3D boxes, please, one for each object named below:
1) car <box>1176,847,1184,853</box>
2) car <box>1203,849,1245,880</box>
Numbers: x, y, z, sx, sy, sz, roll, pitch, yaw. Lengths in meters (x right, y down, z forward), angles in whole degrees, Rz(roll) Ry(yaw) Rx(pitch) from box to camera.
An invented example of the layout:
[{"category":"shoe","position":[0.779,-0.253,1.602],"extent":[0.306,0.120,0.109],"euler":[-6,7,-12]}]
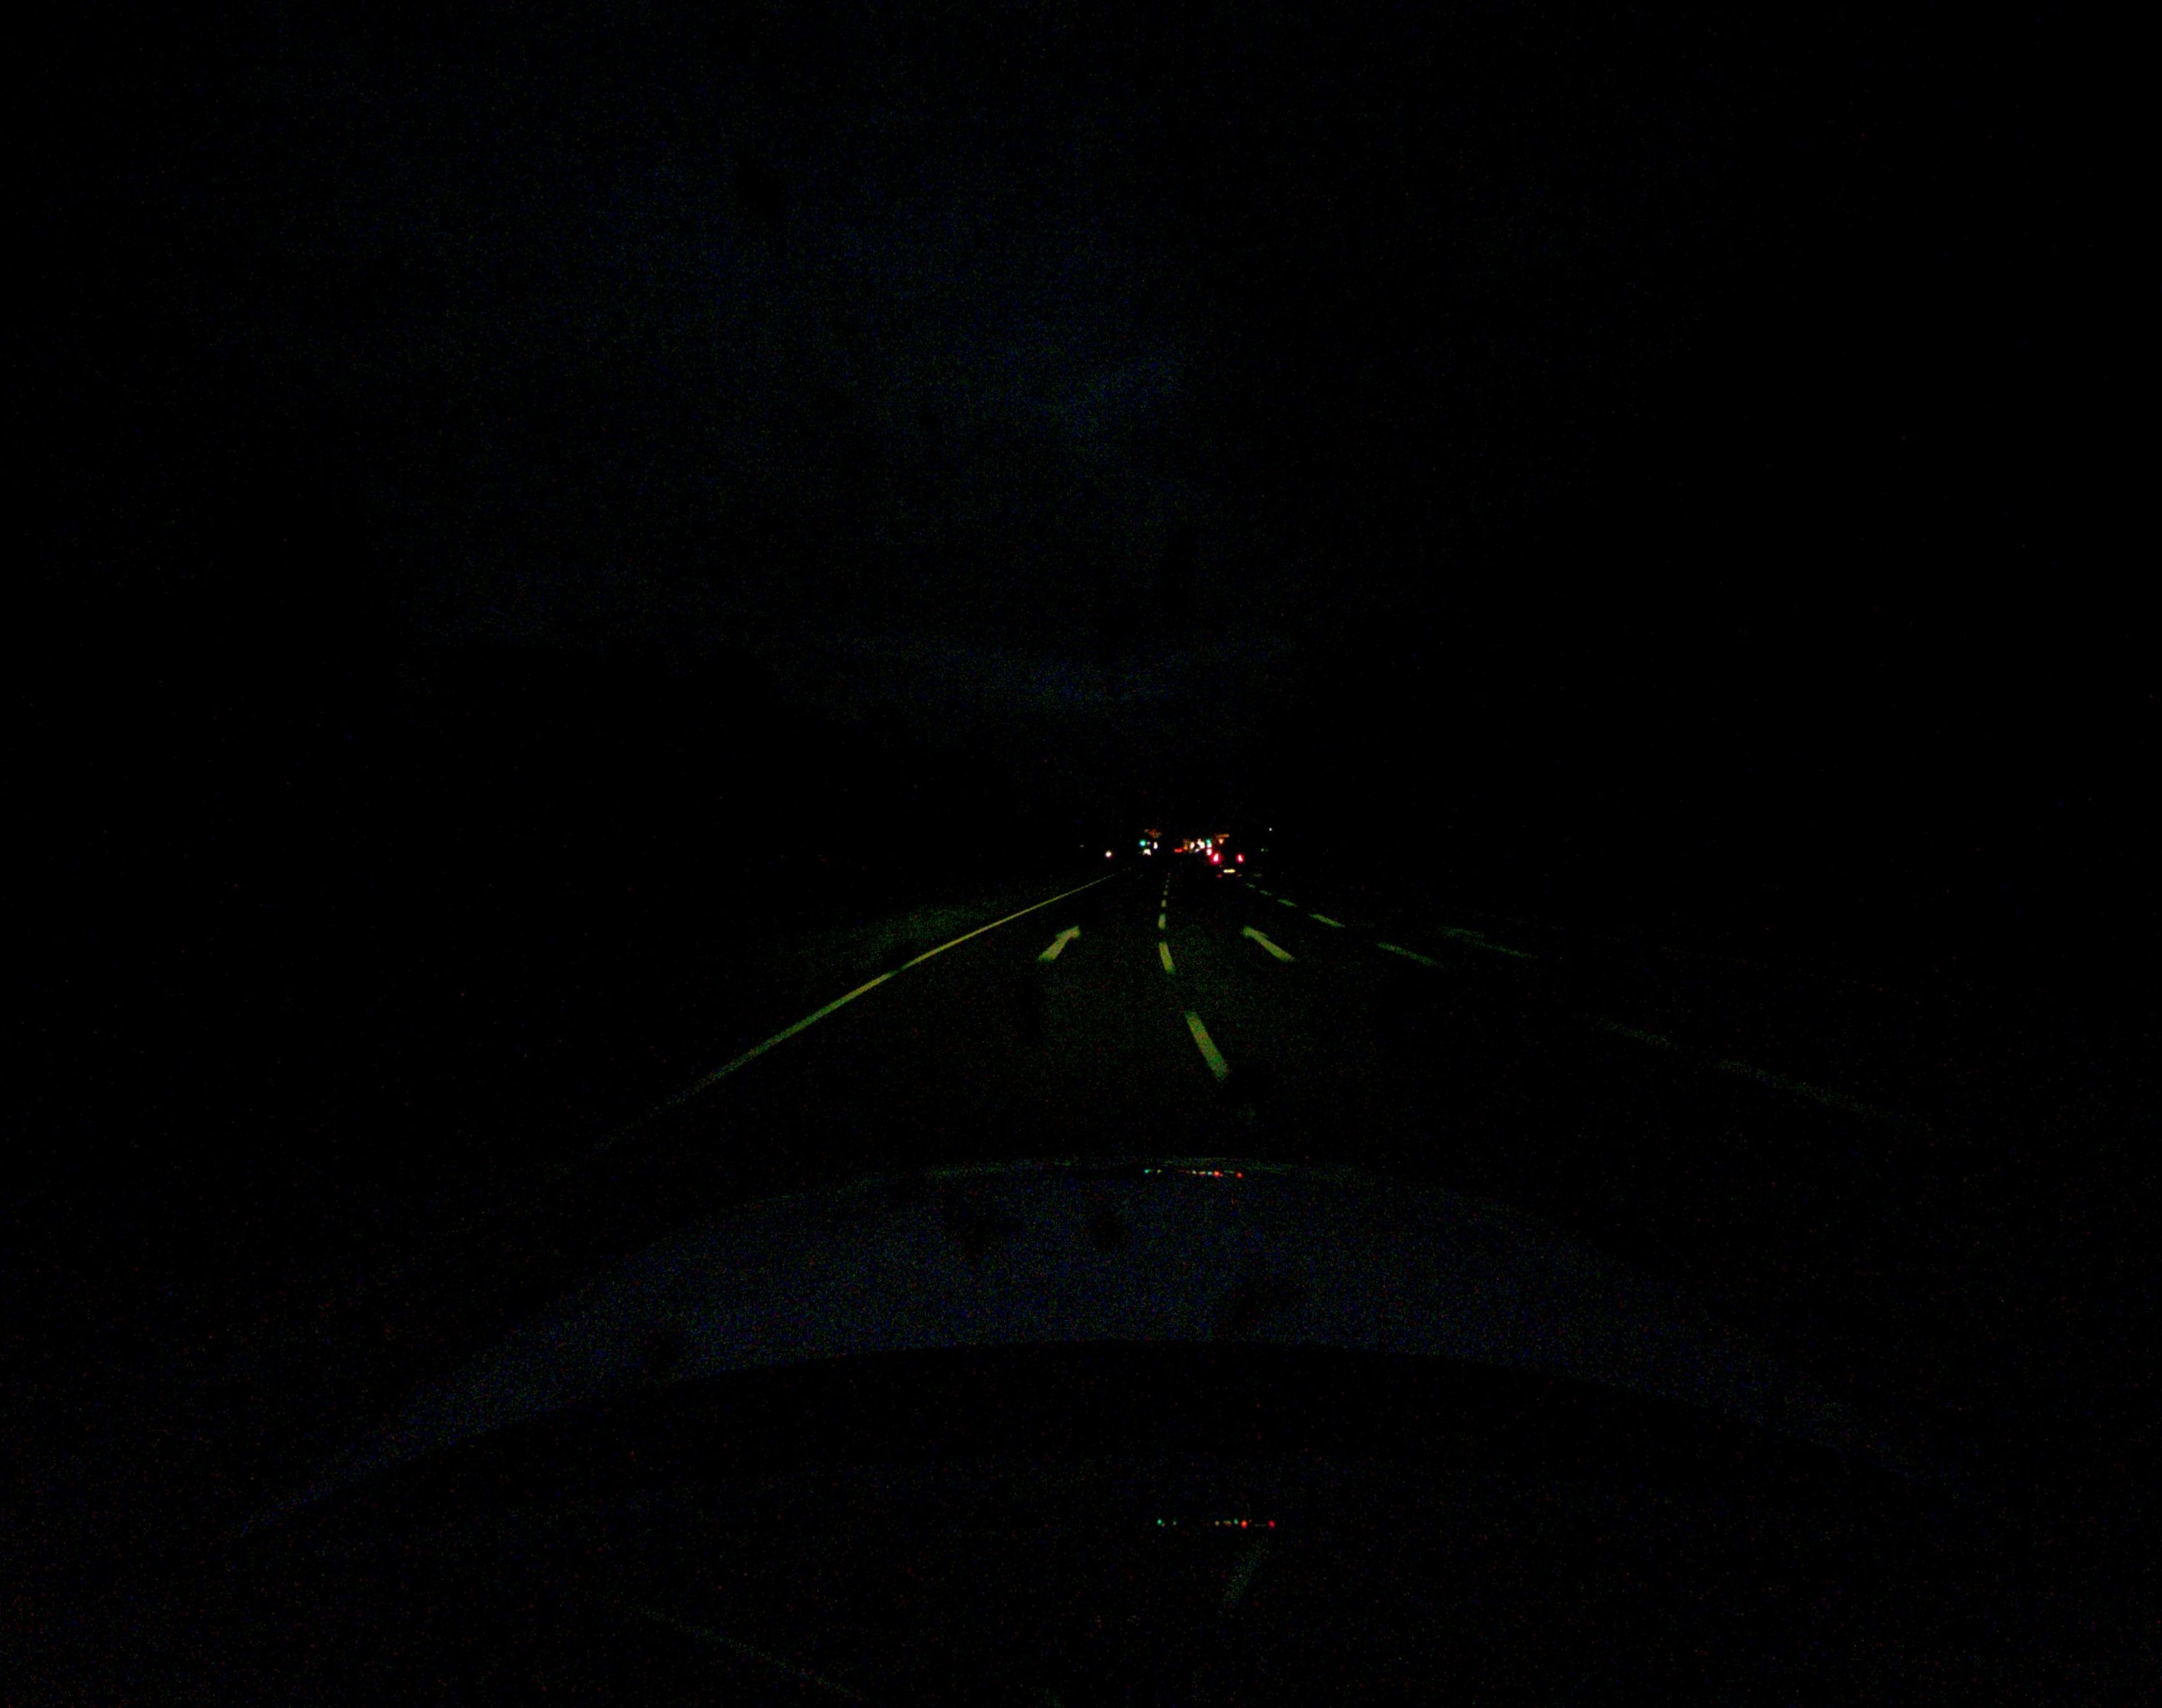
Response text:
[{"category":"car","position":[28.821,-1.152,236.867],"extent":[1.984,1.750,4.005],"euler":[-5,-1,5]},{"category":"car","position":[7.101,0.484,40.670],"extent":[1.744,1.453,4.441],"euler":[-1,0,6]}]
